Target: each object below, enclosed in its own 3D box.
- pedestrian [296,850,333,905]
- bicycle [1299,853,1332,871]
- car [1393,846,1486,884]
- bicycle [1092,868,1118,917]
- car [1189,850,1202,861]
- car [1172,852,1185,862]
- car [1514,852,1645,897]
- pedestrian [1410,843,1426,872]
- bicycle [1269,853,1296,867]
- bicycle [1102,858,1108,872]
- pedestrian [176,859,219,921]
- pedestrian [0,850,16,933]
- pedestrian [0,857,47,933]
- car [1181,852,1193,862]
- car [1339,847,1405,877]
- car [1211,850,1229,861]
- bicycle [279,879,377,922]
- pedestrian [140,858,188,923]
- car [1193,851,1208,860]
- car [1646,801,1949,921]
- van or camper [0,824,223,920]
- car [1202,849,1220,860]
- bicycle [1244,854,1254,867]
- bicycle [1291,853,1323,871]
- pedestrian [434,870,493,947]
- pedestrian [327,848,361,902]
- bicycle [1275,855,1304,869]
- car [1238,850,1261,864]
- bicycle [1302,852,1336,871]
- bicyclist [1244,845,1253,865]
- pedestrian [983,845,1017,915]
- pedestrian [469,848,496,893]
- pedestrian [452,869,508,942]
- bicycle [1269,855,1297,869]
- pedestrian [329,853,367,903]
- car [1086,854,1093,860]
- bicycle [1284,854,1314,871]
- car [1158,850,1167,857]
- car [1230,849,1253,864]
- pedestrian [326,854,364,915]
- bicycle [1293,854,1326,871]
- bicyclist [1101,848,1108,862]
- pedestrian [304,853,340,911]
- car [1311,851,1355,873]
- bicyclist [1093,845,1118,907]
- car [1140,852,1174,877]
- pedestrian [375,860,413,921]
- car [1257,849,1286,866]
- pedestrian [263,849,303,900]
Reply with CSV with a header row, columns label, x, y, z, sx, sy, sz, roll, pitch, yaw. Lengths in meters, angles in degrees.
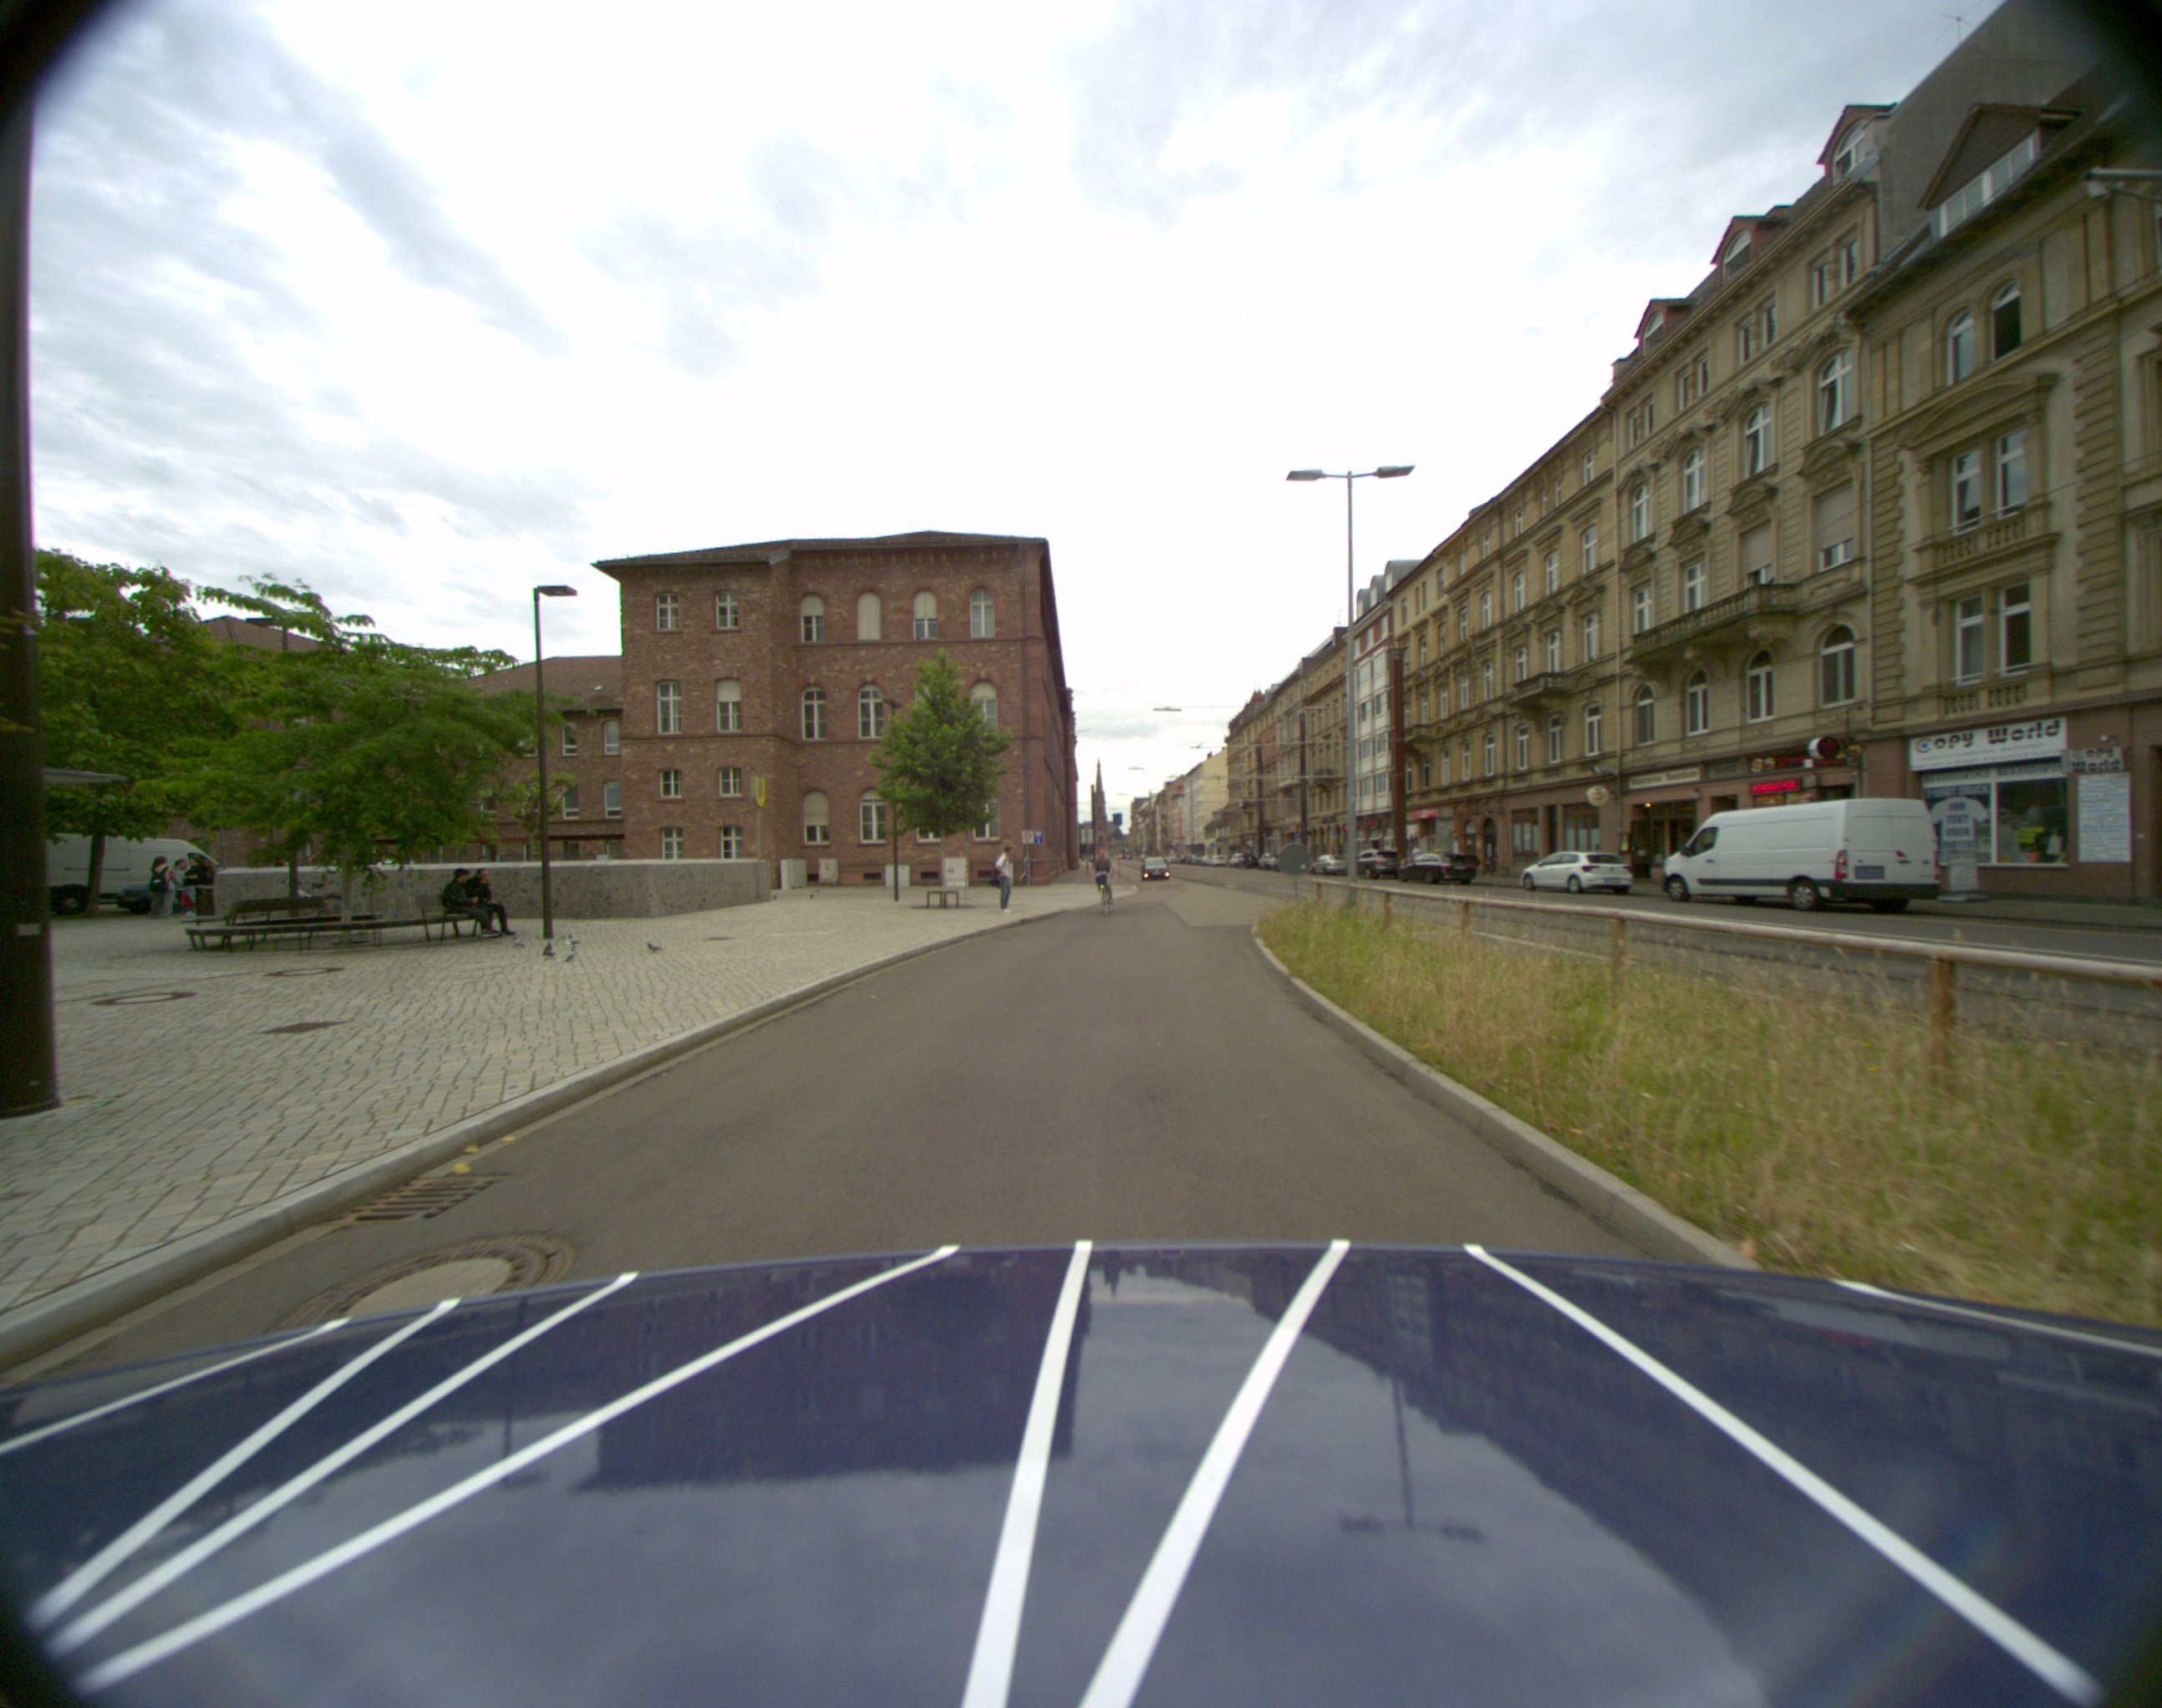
label,x,y,z,sx,sy,sz,roll,pitch,yaw
pedestrian,-26.865,0.825,26.646,0.664,1.879,0.534,-2,1,-3
bicycle,17.553,0.594,56.828,2.287,1.321,0.521,1,1,1
car,16.873,0.476,36.079,1.924,1.679,5.051,1,0,-1
bicycle,0.686,1.048,21.219,0.524,1.253,1.942,-1,1,8
car,18.826,0.277,124.836,1.707,1.747,3.920,0,0,2
car,18.661,0.541,145.945,1.928,1.722,3.826,-2,0,0
car,17.292,0.655,26.622,1.775,1.414,4.164,1,0,-1
pedestrian,20.731,0.214,46.735,0.653,1.772,0.787,-2,1,37
bicycle,17.791,0.545,67.114,2.287,1.196,0.547,-2,1,1
bicycle,2.082,0.914,65.379,0.472,1.151,2.273,-1,0,0
pedestrian,-24.147,0.964,20.766,0.642,1.661,0.592,-1,0,21
pedestrian,-23.383,0.808,16.283,0.590,1.758,0.645,-1,-1,37
pedestrian,-22.651,0.863,16.149,0.593,1.576,0.642,0,-1,-32
car,18.802,0.596,134.743,1.704,1.662,4.181,-2,0,2
car,17.080,0.464,44.931,1.818,1.680,5.030,0,0,-2
car,18.352,0.166,100.493,1.748,1.456,4.046,0,0,0
bicycle,-19.337,1.197,19.532,2.029,1.058,0.470,0,1,0
pedestrian,-23.858,0.942,19.773,0.642,1.661,0.592,-1,0,16
car,18.887,0.177,120.047,1.651,1.373,3.435,0,0,-2
car,17.114,0.141,18.753,2.058,2.472,5.665,1,0,0
van or camper,-31.376,0.542,23.520,1.998,2.704,6.560,-2,0,1
car,17.944,0.138,105.214,1.828,1.512,4.545,0,0,1
bicycle,15.968,0.585,72.410,0.586,1.167,2.045,0,1,2
bicycle,17.678,0.633,59.565,2.287,1.321,0.666,1,1,1
pedestrian,-12.221,1.059,15.057,0.781,1.447,0.766,1,1,-29
pedestrian,-23.087,0.668,23.798,0.513,1.661,0.592,-1,0,22
bicycle,17.860,0.665,65.131,2.287,1.196,0.705,1,1,1
car,18.009,0.296,81.306,1.748,1.479,3.920,0,0,1
bicycle,17.591,0.551,56.105,2.287,1.321,0.666,1,1,1
bicyclist,15.949,0.063,72.398,0.646,1.872,1.028,-2,1,2
pedestrian,-2.208,0.697,20.777,0.871,1.890,0.773,0,0,-1
pedestrian,-22.101,0.609,28.050,0.513,1.661,0.592,-1,0,22
pedestrian,-12.498,1.057,15.821,0.781,1.447,0.766,1,1,-29
bicycle,17.646,0.702,66.433,2.287,1.196,0.705,1,1,1
pedestrian,-26.214,0.862,27.197,0.664,1.747,0.631,-2,1,-9
car,2.452,0.844,216.132,1.835,1.652,4.000,-2,0,1
bicycle,17.882,0.686,62.387,2.287,1.321,0.666,1,1,1
car,18.927,-0.157,176.801,1.867,1.553,4.000,0,0,1
car,18.115,0.292,85.847,1.748,1.662,4.046,0,0,0
pedestrian,-20.321,0.829,20.985,0.513,1.661,0.593,-1,0,24
bicycle,17.658,0.642,58.737,2.287,1.321,0.666,1,1,1
bicyclist,2.002,0.082,65.248,0.587,1.164,0.662,-1,1,0
pedestrian,-22.032,0.817,22.056,0.513,1.661,0.592,-1,0,21
car,17.568,0.540,53.121,1.748,1.479,3.920,0,0,0
bicyclist,0.681,0.601,21.201,0.570,1.674,0.794,-1,1,9
car,4.952,0.652,49.880,1.747,1.538,3.650,-2,0,-1
pedestrian,-19.026,1.007,21.046,0.513,1.661,0.592,-1,0,21
car,17.793,0.342,71.118,1.748,1.524,4.225,0,0,0
pedestrian,-26.735,0.666,25.454,0.664,1.668,0.533,-2,1,-9
